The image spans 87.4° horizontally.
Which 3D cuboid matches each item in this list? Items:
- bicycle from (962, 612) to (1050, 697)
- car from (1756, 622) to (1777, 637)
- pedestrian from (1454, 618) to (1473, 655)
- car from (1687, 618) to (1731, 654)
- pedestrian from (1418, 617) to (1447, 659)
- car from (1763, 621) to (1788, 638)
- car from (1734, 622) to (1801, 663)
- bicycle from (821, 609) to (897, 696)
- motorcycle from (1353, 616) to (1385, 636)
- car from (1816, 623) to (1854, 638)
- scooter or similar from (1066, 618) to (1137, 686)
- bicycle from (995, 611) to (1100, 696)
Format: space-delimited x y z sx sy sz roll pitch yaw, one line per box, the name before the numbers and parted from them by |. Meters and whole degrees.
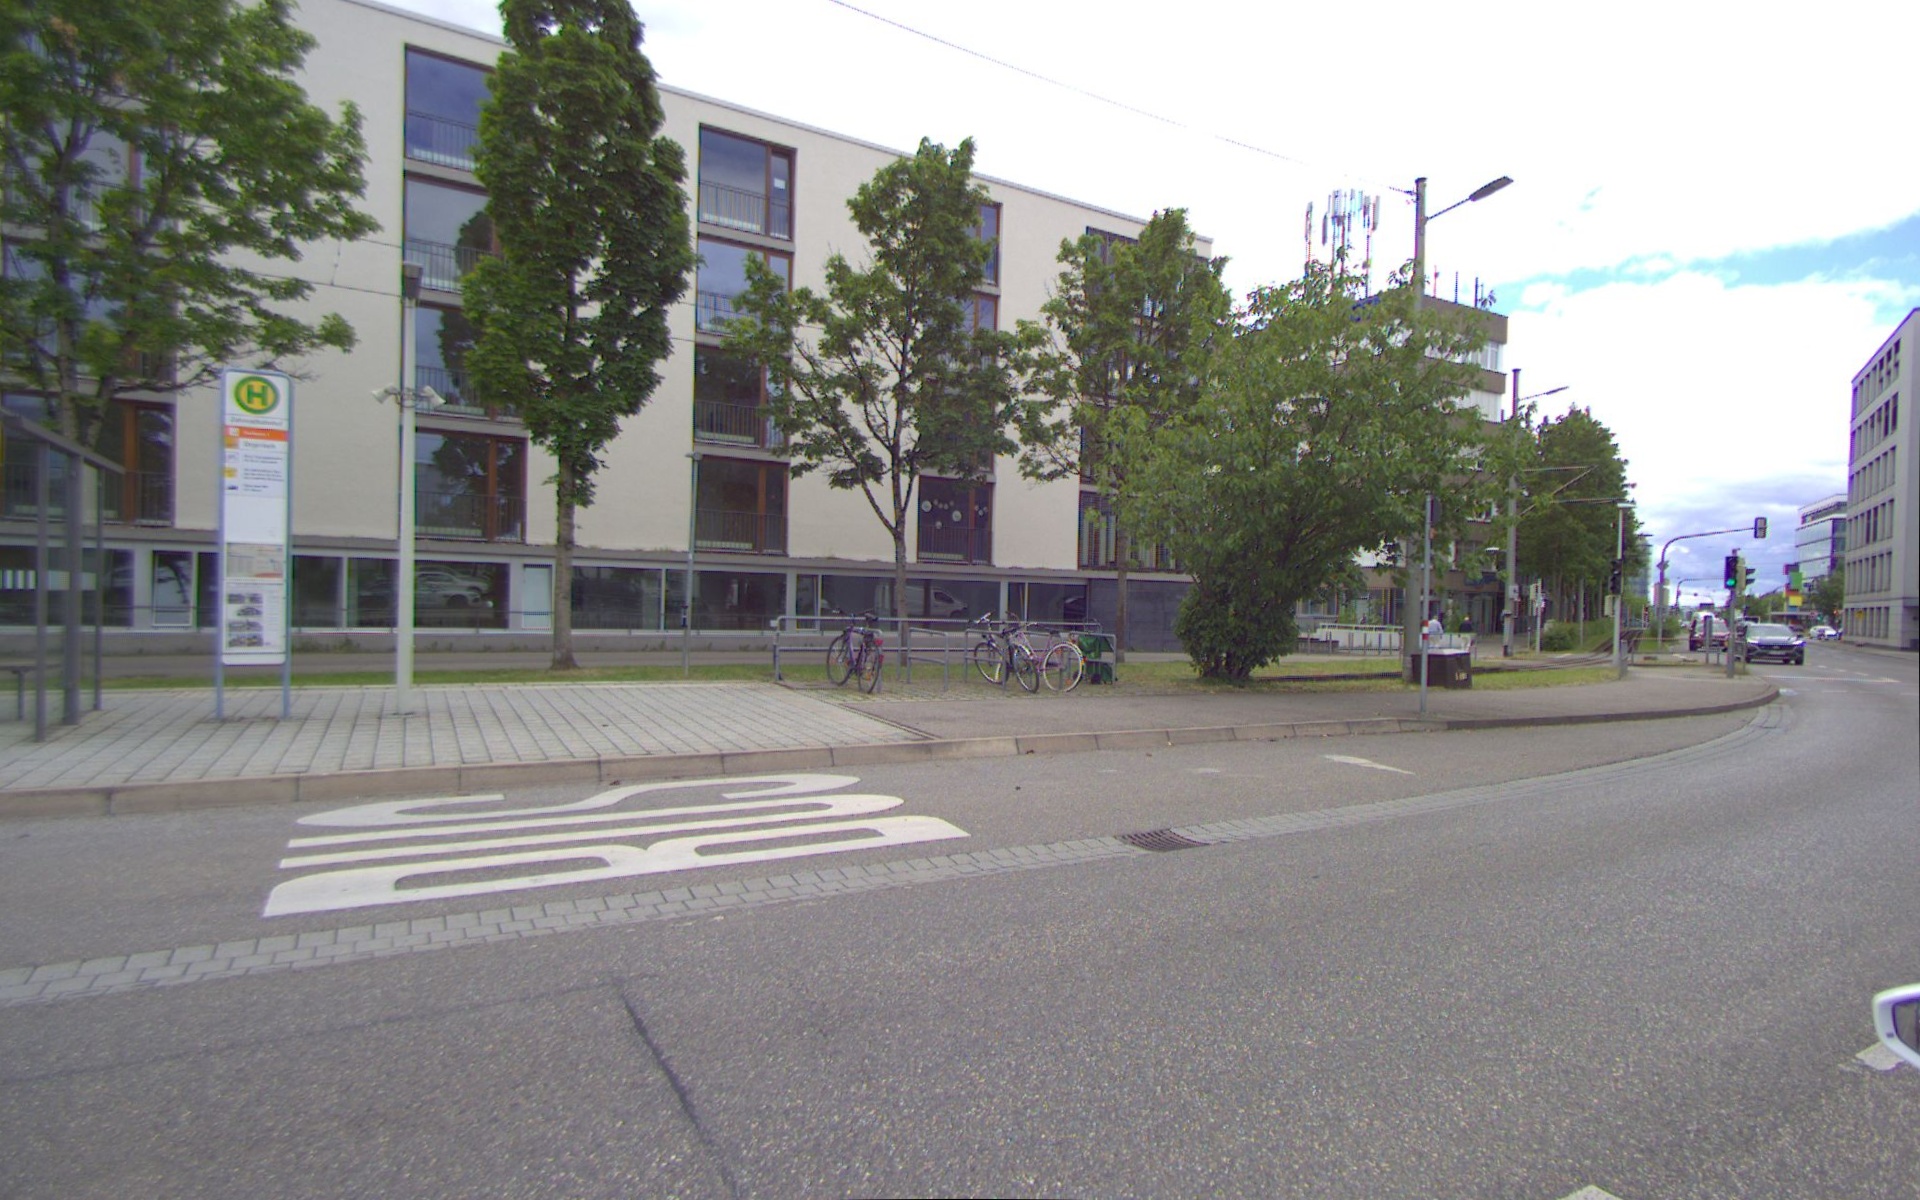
bicycle | 0.631 0.752 14.377 0.403 1.060 1.741 1 2 -28
car | 91.980 3.309 114.573 1.737 1.630 4.171 2 0 38
pedestrian | 23.251 1.681 46.386 0.679 1.728 0.680 0 -1 37
car | 40.580 1.928 54.500 1.658 1.832 4.340 -1 -2 33
pedestrian | 17.481 1.398 37.135 0.836 1.547 0.993 0 -1 33
car | 81.263 2.924 100.137 1.737 1.630 4.171 2 0 38
car | 31.357 1.605 39.101 1.744 1.498 3.987 -1 -2 35
bicycle | -1.399 0.679 13.594 0.391 1.039 1.680 1 2 -28
motorcycle | 25.878 1.621 63.579 0.563 1.215 1.865 1 0 -36
car | 93.645 3.243 107.568 1.962 1.522 3.997 2 0 25
scooter or similar | 2.230 0.808 15.876 0.767 1.023 0.781 1 0 -38
bicycle | 1.264 0.754 14.792 0.405 1.103 1.689 1 2 -42
